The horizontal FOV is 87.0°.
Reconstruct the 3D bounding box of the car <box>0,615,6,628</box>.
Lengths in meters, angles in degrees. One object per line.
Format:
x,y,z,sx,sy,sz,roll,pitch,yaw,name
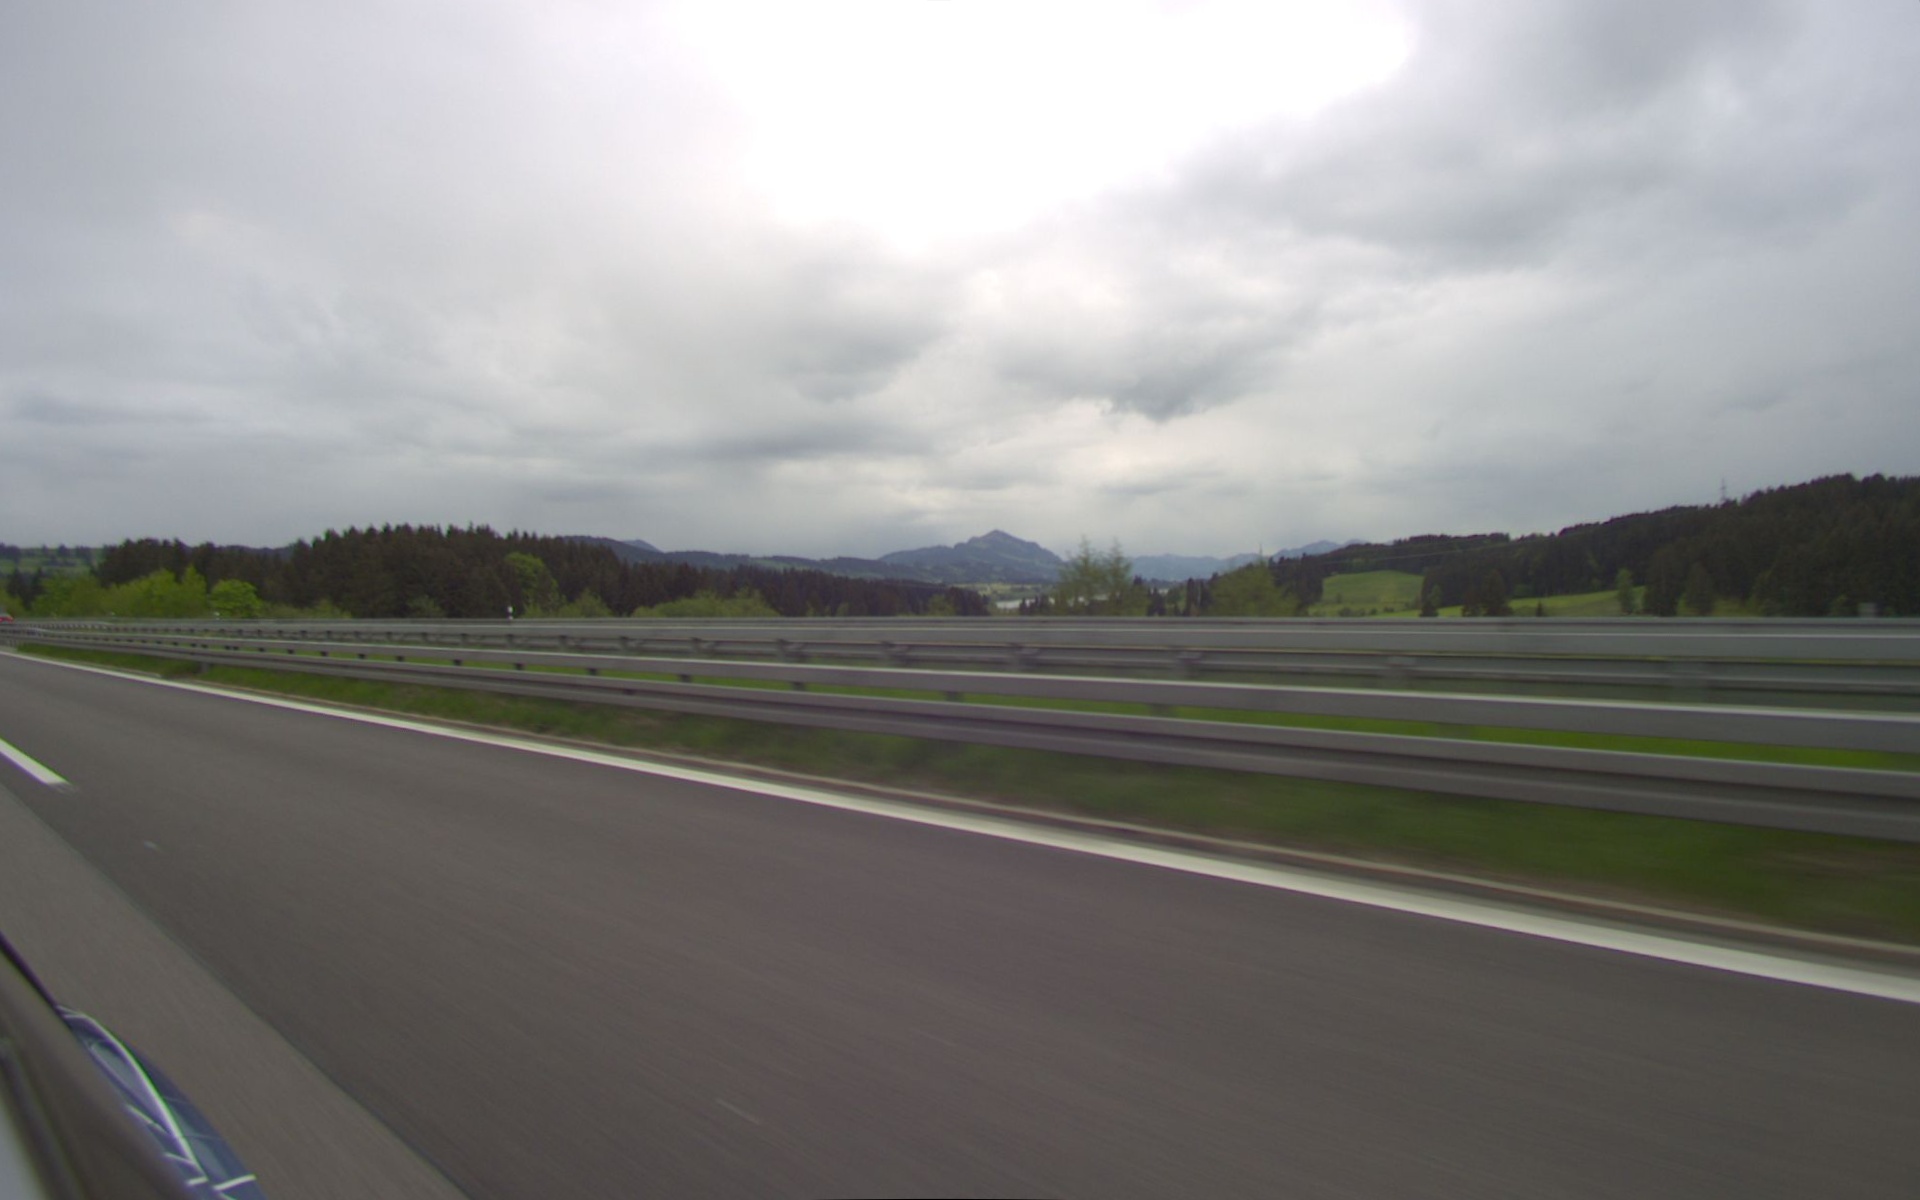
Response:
-128.179,2.876,134.099,4.844,1.629,1.973,-1,1,41,car
